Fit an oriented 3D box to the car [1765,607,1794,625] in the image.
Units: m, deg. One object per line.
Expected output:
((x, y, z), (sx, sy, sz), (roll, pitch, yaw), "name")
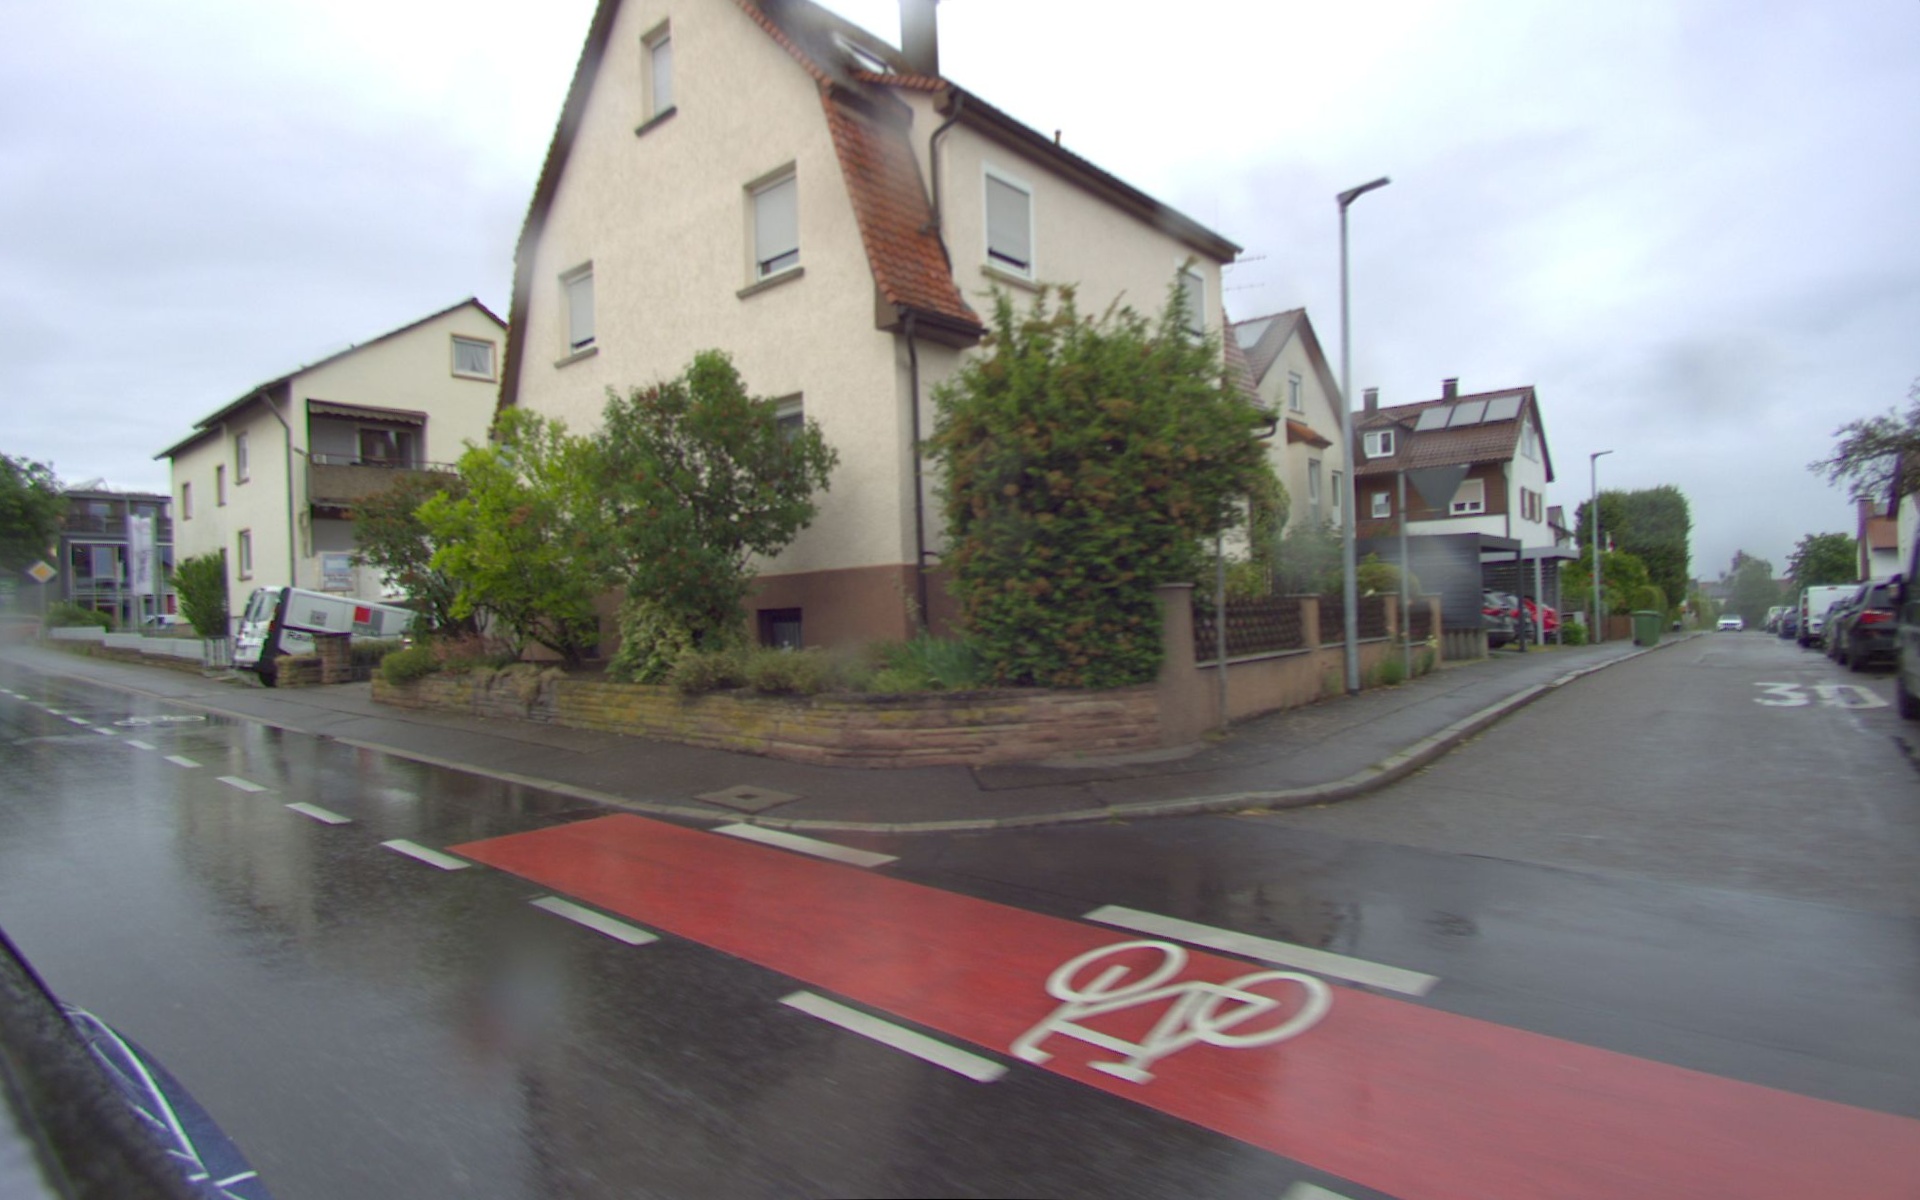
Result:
((61.975, 1.199, 76.553), (1.546, 1.333, 3.469), (-1, 0, 37), "car")

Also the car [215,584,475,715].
((-12.614, 1.096, 20.993), (1.871, 1.989, 3.951), (-1, -13, 38), "car")

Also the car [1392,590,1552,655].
((12.867, 0.528, 25.503), (3.337, 1.530, 1.575), (0, 0, 41), "car")

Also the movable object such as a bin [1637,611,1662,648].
((21.240, 0.902, 31.171), (0.608, 1.119, 0.591), (0, -1, 37), "movable object such as a bin")

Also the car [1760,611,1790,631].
((58.305, 1.486, 72.447), (1.546, 1.333, 3.469), (-1, 0, 37), "car")

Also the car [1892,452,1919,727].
((9.574, -0.084, 8.326), (2.287, 2.625, 5.375), (-1, 0, 38), "car")

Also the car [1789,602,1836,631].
((41.363, 0.767, 49.167), (1.546, 1.333, 3.469), (-1, 0, 37), "car")

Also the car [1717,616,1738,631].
((73.258, 2.213, 96.623), (1.545, 1.333, 3.470), (0, 0, 36), "car")

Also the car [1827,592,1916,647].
((25.374, 0.498, 28.270), (1.673, 1.428, 3.532), (-1, 0, 40), "car")

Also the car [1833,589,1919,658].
((20.665, 0.473, 22.605), (1.673, 1.428, 3.532), (-1, 0, 40), "car")

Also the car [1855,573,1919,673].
((17.335, 0.374, 18.165), (1.770, 1.674, 3.532), (-1, 0, 40), "car")

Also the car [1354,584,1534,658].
((10.737, 0.443, 22.557), (3.337, 1.530, 1.575), (0, 0, 41), "car")

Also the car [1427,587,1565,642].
((15.763, 0.404, 29.806), (3.337, 1.530, 1.575), (0, 0, 41), "car")

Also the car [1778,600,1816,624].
((48.452, 0.661, 58.631), (1.546, 1.333, 3.469), (-1, 0, 37), "car")

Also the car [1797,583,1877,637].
((28.405, 0.314, 32.871), (1.700, 1.647, 3.535), (-1, 0, 37), "car")
